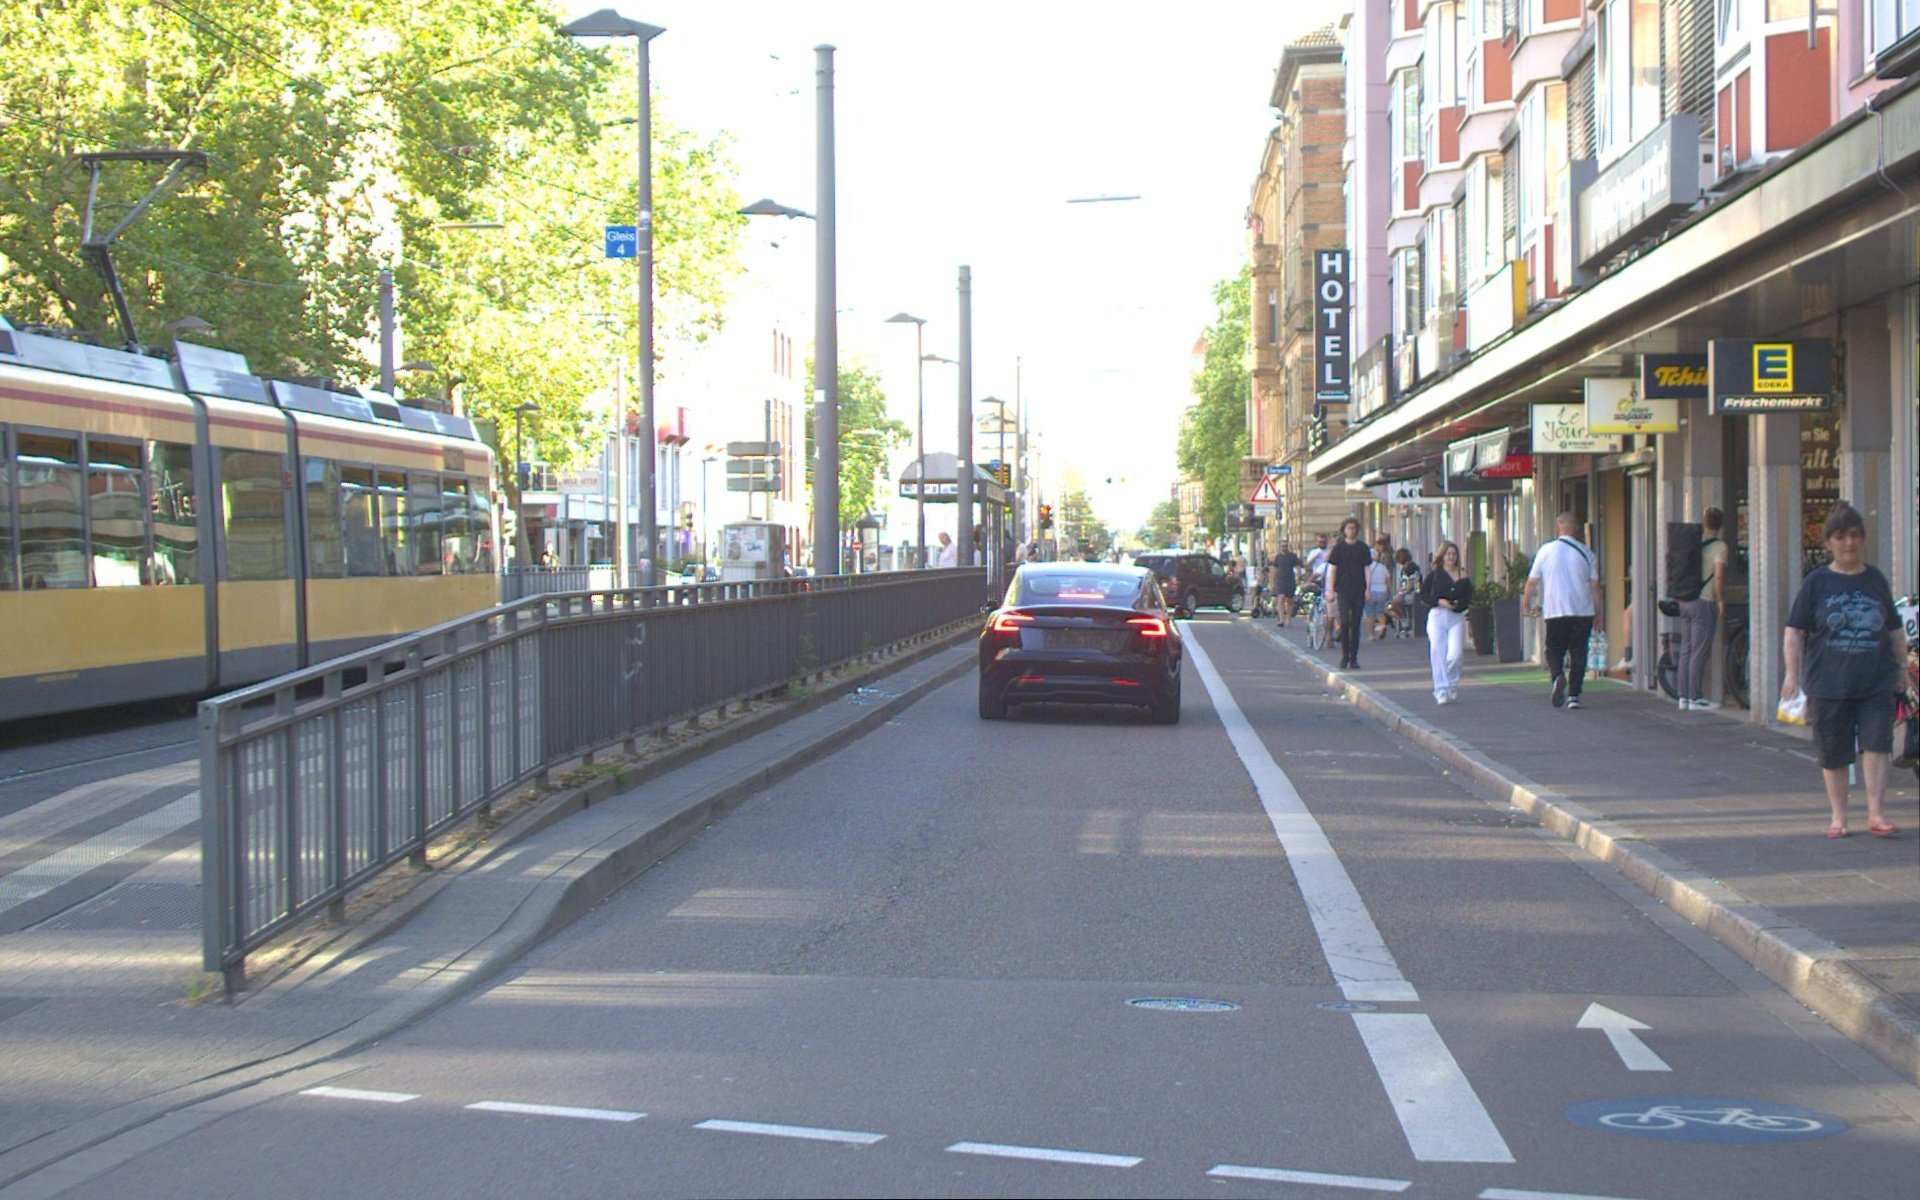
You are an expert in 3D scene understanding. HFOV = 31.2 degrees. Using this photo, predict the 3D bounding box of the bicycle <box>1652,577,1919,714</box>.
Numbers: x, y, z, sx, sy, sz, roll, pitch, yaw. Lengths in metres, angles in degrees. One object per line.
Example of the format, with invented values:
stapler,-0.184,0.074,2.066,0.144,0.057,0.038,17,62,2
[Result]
bicycle,7.553,0.405,31.096,2.428,1.213,0.829,0,1,1

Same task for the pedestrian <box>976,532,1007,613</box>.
pedestrian,0.684,-0.597,74.626,0.678,1.763,0.663,0,1,1

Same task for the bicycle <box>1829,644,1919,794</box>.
bicycle,5.617,0.713,20.972,0.414,0.854,1.237,0,1,5

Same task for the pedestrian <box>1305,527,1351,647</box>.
pedestrian,5.801,-0.209,54.250,0.696,1.890,0.750,0,1,4

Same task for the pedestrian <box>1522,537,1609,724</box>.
pedestrian,5.467,0.267,31.075,0.696,1.672,0.750,0,1,4

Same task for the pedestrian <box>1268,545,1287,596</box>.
pedestrian,11.670,-1.095,126.310,0.696,1.872,0.750,0,1,4

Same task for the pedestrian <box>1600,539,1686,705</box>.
pedestrian,6.849,0.212,34.505,0.737,1.647,0.718,0,1,1

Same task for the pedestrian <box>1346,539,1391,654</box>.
pedestrian,6.754,-0.059,56.833,0.696,1.890,0.750,0,1,4

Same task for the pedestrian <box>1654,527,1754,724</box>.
pedestrian,6.412,0.214,29.645,0.747,1.672,0.699,0,1,4

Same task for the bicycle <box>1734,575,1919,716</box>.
bicycle,8.070,0.388,30.078,2.428,1.213,0.796,0,1,1

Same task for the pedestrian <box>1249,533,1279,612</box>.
pedestrian,7.300,-0.654,82.612,0.696,1.890,0.750,0,1,4

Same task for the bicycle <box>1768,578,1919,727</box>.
bicycle,8.010,0.428,28.535,2.428,1.213,0.796,0,1,1

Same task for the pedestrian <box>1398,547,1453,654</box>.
pedestrian,7.695,0.006,56.886,0.842,1.750,0.787,0,1,4

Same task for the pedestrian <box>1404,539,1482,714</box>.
pedestrian,4.675,0.250,33.298,0.696,1.672,0.750,0,1,4

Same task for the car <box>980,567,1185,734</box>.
car,1.171,0.451,32.444,1.790,1.446,3.939,1,0,2

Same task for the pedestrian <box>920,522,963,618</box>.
pedestrian,-0.340,-0.559,63.737,0.757,1.763,0.699,0,1,2

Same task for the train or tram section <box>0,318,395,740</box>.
train or tram section,-8.034,-0.657,33.940,2.714,3.534,10.168,0,1,3

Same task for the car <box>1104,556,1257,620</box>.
car,5.849,-0.337,91.261,3.695,1.659,1.743,0,1,-16

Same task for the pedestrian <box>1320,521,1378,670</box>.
pedestrian,4.998,-0.060,44.190,0.696,1.890,0.750,0,1,4

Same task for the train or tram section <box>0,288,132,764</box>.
train or tram section,-8.603,-0.526,23.833,2.729,3.530,10.085,0,1,3

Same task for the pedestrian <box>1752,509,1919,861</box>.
pedestrian,4.267,0.400,16.719,0.696,1.672,0.750,0,1,4

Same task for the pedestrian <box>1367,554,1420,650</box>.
pedestrian,7.323,0.030,58.148,0.842,1.601,0.787,0,1,4

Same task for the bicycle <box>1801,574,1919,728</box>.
bicycle,8.051,0.396,27.567,2.428,1.213,0.796,0,1,1

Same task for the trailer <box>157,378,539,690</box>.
trailer,-7.518,-0.810,43.680,2.714,3.534,9.358,0,1,3

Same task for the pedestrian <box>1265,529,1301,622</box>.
pedestrian,6.639,-0.501,70.689,0.696,1.890,0.750,0,1,4
